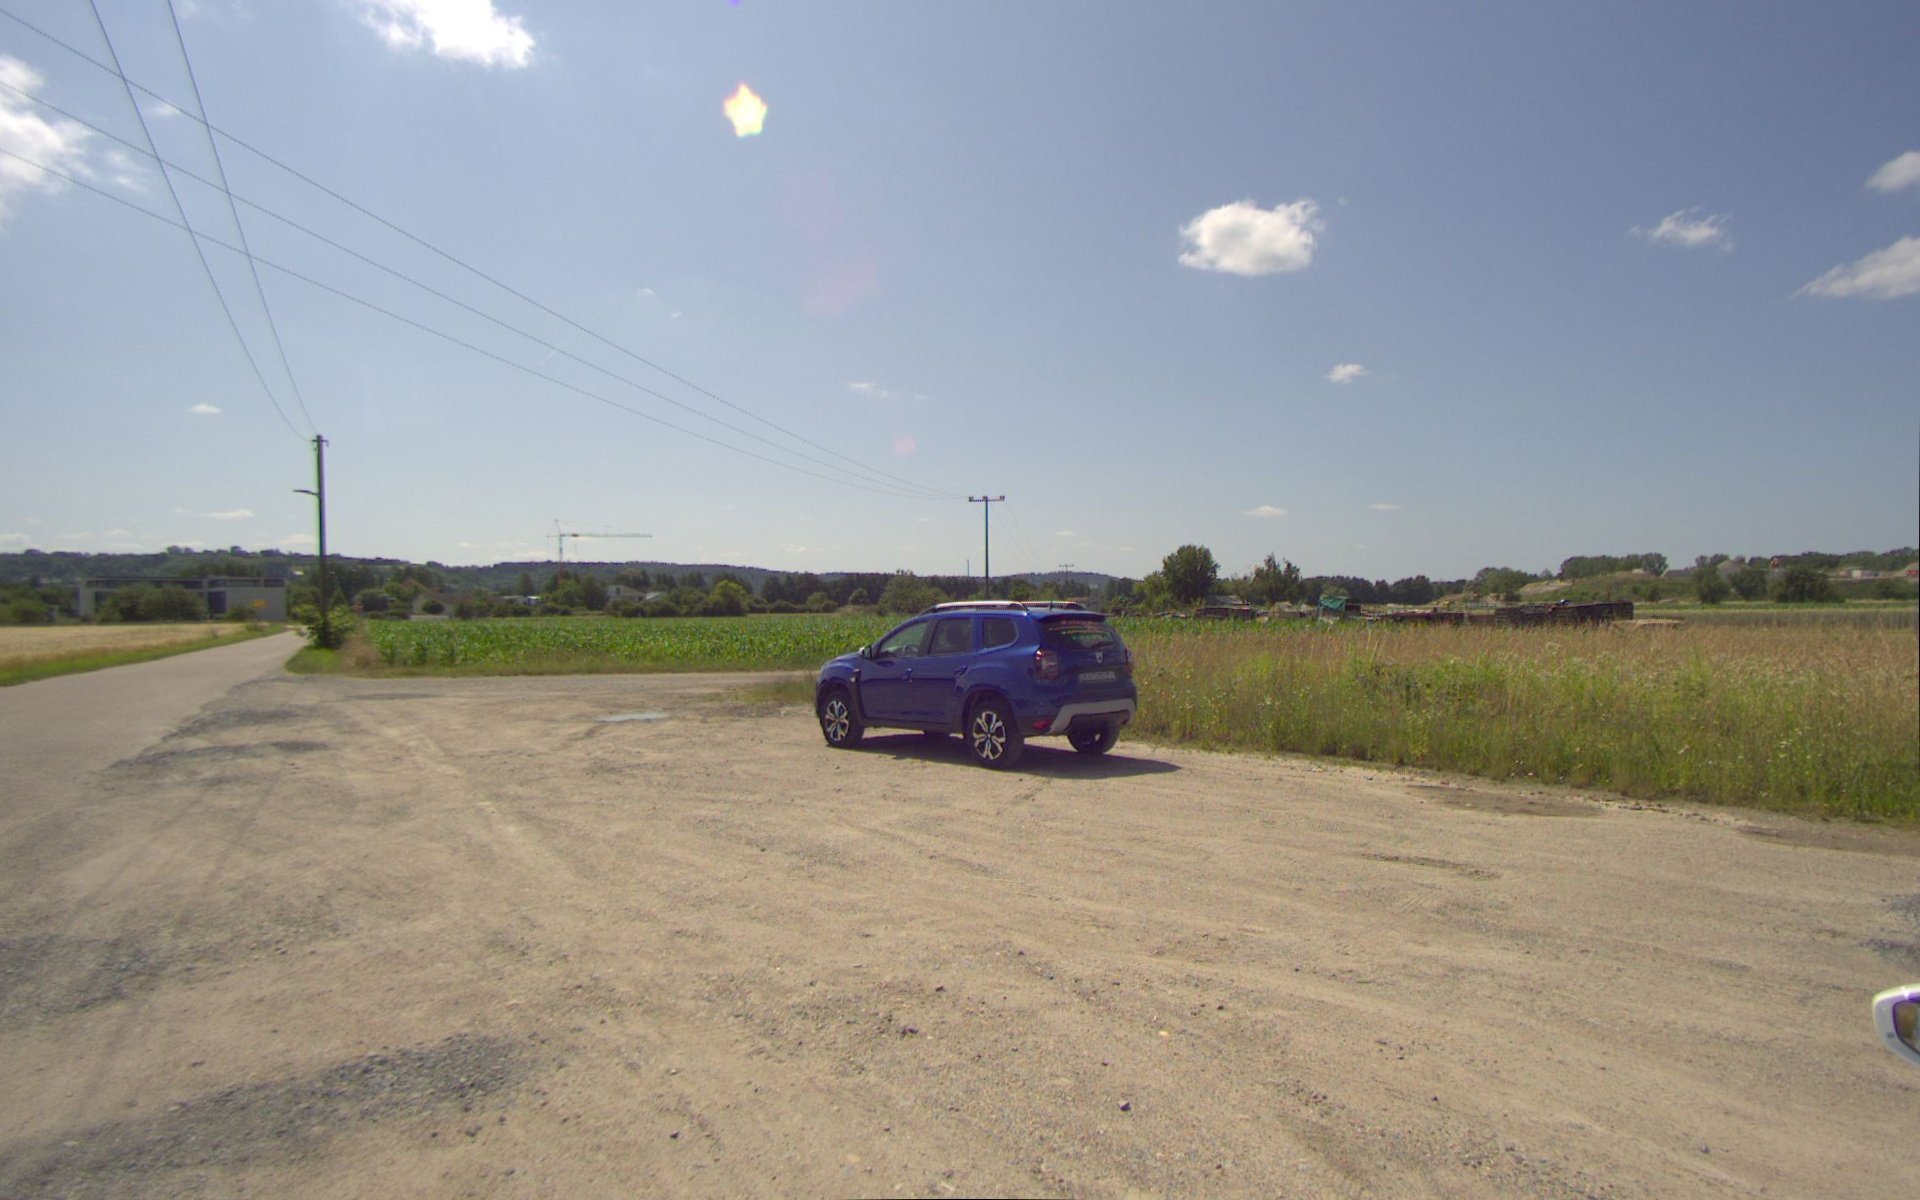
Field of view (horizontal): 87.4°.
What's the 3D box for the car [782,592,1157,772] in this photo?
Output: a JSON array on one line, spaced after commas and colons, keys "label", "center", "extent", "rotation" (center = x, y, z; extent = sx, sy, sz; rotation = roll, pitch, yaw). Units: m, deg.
[{"label": "car", "center": [-0.076, 0.842, 11.659], "extent": [1.851, 1.683, 4.403], "rotation": [1, -2, -43]}]
